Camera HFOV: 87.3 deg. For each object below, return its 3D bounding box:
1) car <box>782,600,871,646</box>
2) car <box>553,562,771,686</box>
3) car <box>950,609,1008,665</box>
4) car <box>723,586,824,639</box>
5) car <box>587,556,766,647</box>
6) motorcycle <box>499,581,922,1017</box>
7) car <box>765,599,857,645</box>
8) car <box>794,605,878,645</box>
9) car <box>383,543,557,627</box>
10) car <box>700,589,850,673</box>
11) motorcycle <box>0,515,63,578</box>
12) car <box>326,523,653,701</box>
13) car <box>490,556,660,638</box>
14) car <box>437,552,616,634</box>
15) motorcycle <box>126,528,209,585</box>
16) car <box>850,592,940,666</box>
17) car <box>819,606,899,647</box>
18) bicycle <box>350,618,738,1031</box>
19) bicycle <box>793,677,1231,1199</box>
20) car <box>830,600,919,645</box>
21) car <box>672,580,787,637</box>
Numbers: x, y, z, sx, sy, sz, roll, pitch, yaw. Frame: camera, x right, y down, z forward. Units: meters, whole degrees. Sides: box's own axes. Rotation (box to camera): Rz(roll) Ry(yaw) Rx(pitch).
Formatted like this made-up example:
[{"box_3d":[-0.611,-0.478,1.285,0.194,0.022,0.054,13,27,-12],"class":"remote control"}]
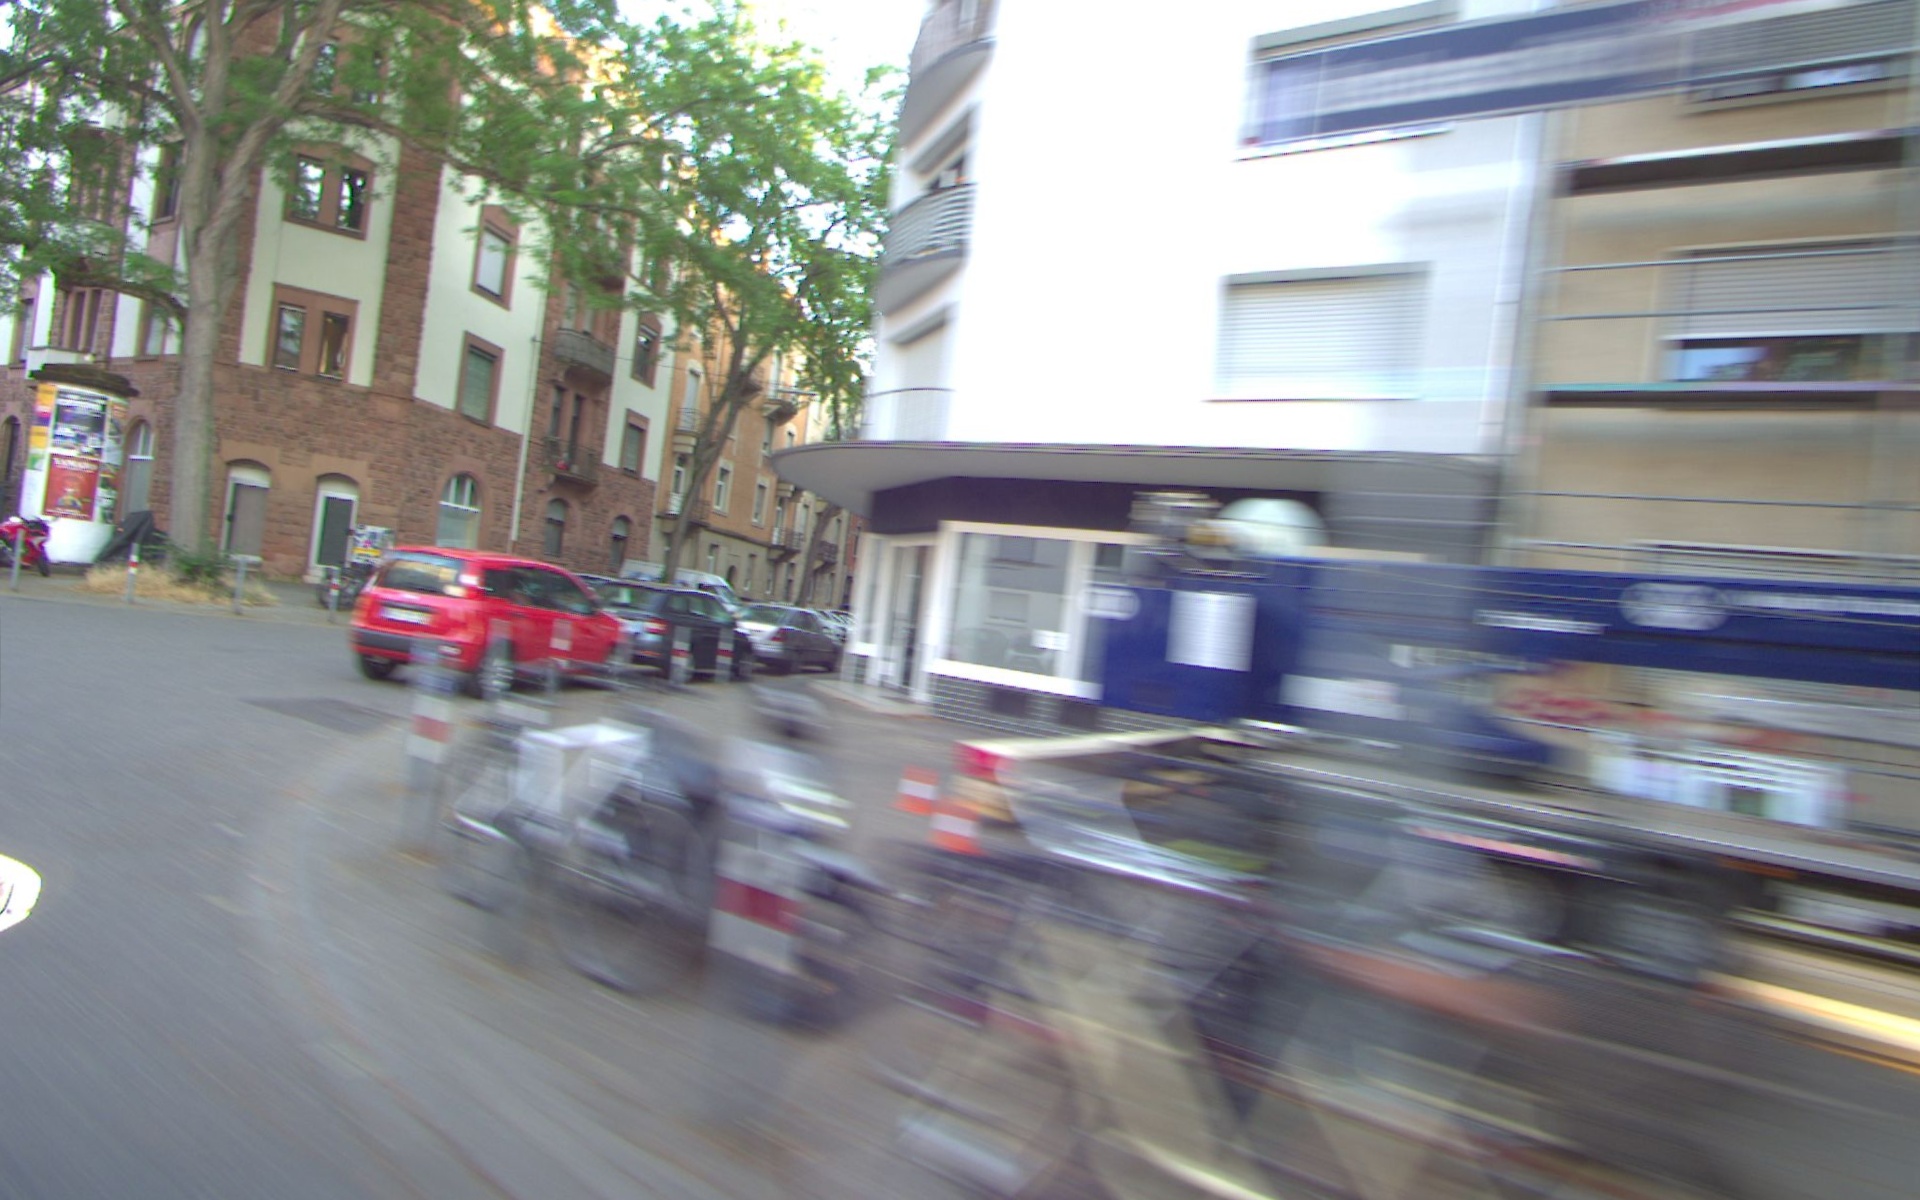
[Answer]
[{"box_3d":[-6.883,1.201,52.000,3.924,1.770,2.002,7,-1,13],"class":"car"},{"box_3d":[-4.589,0.465,16.149,1.595,1.524,3.903,8,-2,10],"class":"car"},{"box_3d":[0.937,1.761,46.233,1.871,2.225,4.483,7,-2,9],"class":"car"},{"box_3d":[-8.526,0.570,46.064,3.926,1.837,2.001,7,-1,21],"class":"car"},{"box_3d":[-10.112,0.094,36.178,5.444,2.447,2.402,8,-1,9],"class":"car"},{"box_3d":[-1.158,0.696,4.297,2.031,1.374,0.501,6,1,38],"class":"motorcycle"},{"box_3d":[-7.365,1.099,49.865,3.924,1.690,1.778,7,-1,15],"class":"car"},{"box_3d":[-6.664,1.356,54.288,3.924,1.570,2.002,7,-1,11],"class":"car"},{"box_3d":[-11.869,-0.355,24.443,3.368,1.494,1.683,7,-2,14],"class":"car"},{"box_3d":[-3.803,0.733,21.490,1.625,1.445,4.241,7,-2,10],"class":"car"},{"box_3d":[-17.292,-0.970,18.231,0.431,1.092,2.206,8,0,-13],"class":"motorcycle"},{"box_3d":[-5.354,0.185,11.975,1.595,1.592,3.481,8,0,12],"class":"car"},{"box_3d":[-11.048,-0.069,28.958,4.064,1.741,1.778,7,-1,11],"class":"car"},{"box_3d":[-11.505,-0.174,26.788,3.924,1.572,1.828,7,-1,14],"class":"car"},{"box_3d":[-16.845,-0.905,21.444,0.431,1.092,2.104,8,0,-13],"class":"motorcycle"},{"box_3d":[-2.041,1.019,32.895,1.871,2.041,4.483,7,-2,8],"class":"car"},{"box_3d":[-5.696,1.528,56.901,3.924,1.748,2.002,8,-1,13],"class":"car"},{"box_3d":[-1.789,0.756,4.078,2.123,1.124,0.405,7,2,39],"class":"bicycle"},{"box_3d":[0.292,0.898,2.747,0.399,1.274,1.906,7,1,25],"class":"bicycle"},{"box_3d":[-5.208,1.399,61.599,4.845,2.037,2.002,7,-1,11],"class":"car"},{"box_3d":[-9.320,0.343,40.735,3.926,1.726,2.001,7,-1,21],"class":"car"}]
